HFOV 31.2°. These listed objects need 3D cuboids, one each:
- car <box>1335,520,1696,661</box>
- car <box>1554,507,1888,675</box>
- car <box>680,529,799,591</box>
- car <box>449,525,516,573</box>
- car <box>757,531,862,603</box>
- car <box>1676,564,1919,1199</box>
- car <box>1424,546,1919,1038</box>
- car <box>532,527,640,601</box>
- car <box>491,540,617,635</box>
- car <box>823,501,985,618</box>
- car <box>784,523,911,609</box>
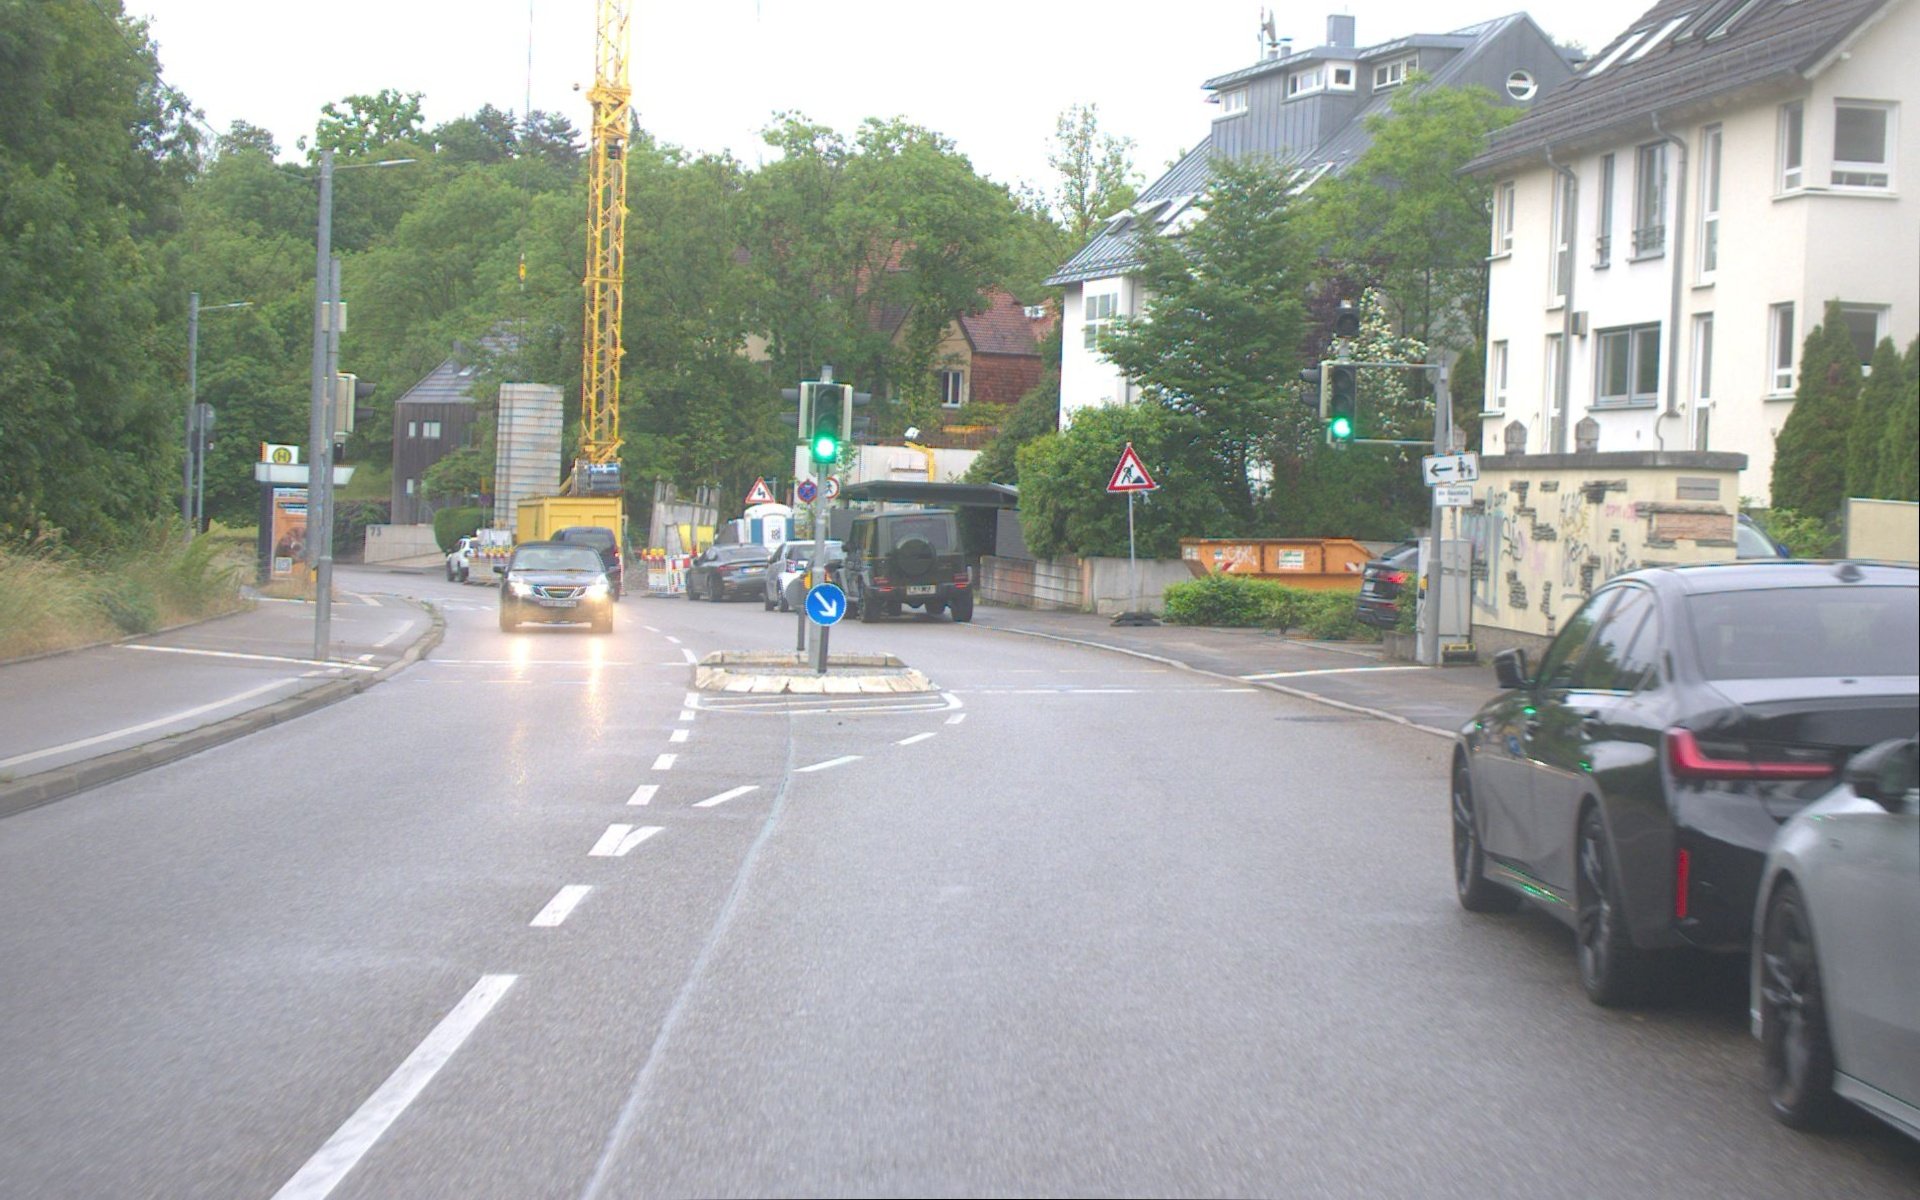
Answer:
[{"bbox_3d":[7.474,-0.128,46.489,4.326,1.590,1.993,4,0,-8],"label":"car"},{"bbox_3d":[8.121,-0.119,37.114,1.931,1.590,4.343,4,0,-10],"label":"car"},{"bbox_3d":[-5.521,-1.008,85.626,1.931,1.417,4.839,1,1,-16],"label":"car"},{"bbox_3d":[-17.632,-1.890,126.804,1.744,1.700,4.503,-1,1,-17],"label":"car"},{"bbox_3d":[-3.156,-0.700,71.676,1.672,1.452,3.387,0,1,-11],"label":"car"},{"bbox_3d":[2.979,0.679,7.553,1.793,1.481,4.495,1,0,-1],"label":"car"},{"bbox_3d":[2.886,0.562,12.456,1.751,1.438,4.600,1,0,0],"label":"car"},{"bbox_3d":[-9.391,-0.922,86.162,1.931,1.745,4.001,1,2,-17],"label":"car"},{"bbox_3d":[-6.478,-0.217,55.218,1.743,1.455,4.414,1,1,-4],"label":"car"},{"bbox_3d":[-1.063,-0.753,62.395,1.993,2.007,4.958,-1,1,-12],"label":"car"},{"bbox_3d":[-2.235,-0.679,67.340,1.931,1.590,4.396,-2,1,-9],"label":"car"}]
